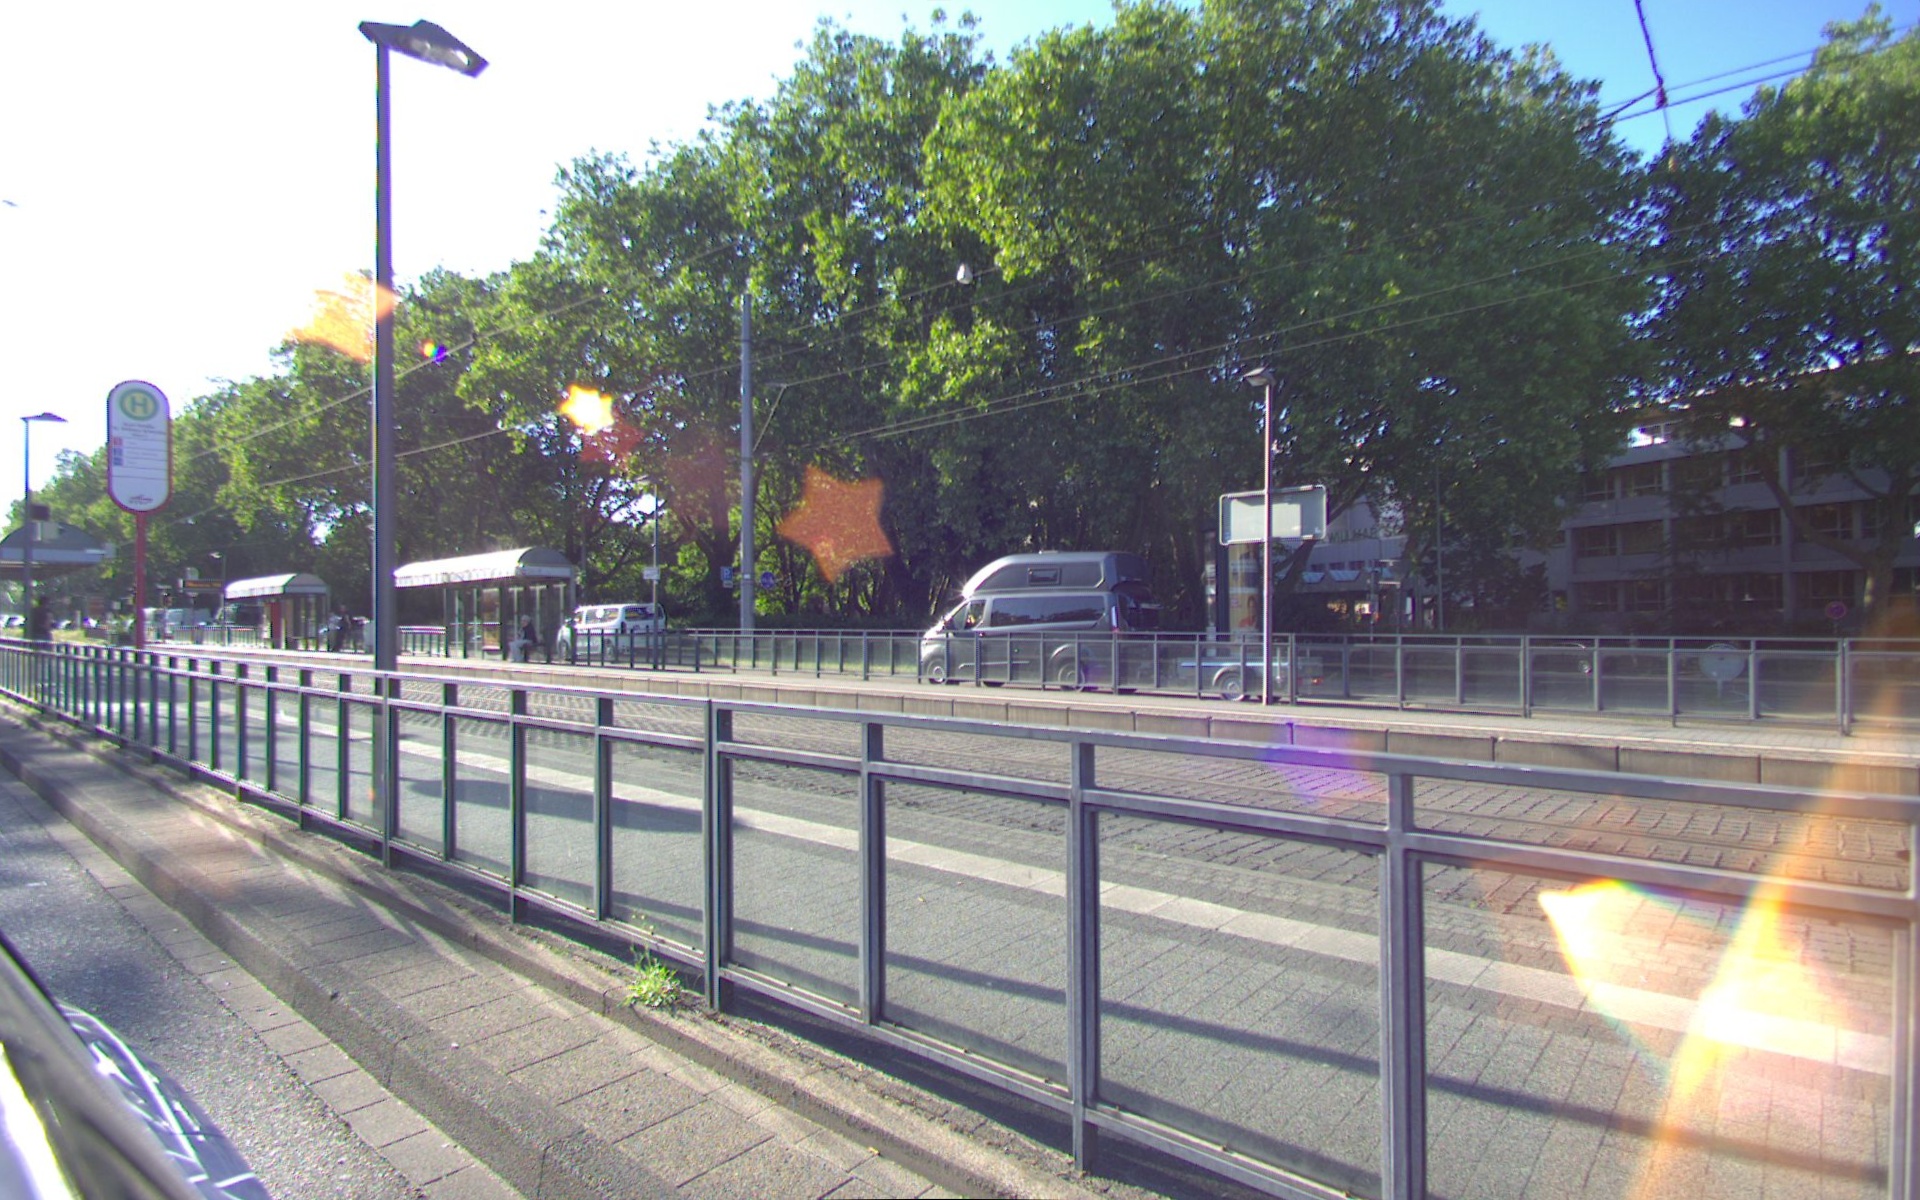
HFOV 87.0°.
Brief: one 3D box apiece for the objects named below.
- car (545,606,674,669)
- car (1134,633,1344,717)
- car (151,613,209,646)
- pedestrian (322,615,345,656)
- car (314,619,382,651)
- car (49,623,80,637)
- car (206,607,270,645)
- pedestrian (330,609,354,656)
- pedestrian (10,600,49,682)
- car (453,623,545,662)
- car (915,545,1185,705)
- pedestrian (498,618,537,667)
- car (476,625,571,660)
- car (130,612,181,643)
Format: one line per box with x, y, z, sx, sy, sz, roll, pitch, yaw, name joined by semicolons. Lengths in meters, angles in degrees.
-12.677;1.313;36.459;5.086;2.140;2.046;-1;-3;40;car
4.768;1.217;17.336;2.909;1.171;2.047;0;0;39;car
-62.976;2.343;81.690;6.264;2.540;2.162;0;-3;38;car
-24.283;1.348;39.209;0.626;1.555;0.586;0;0;42;pedestrian
-33.418;1.894;55.229;3.968;1.664;1.884;0;-3;38;car
-96.746;3.265;109.355;4.320;1.448;1.808;-1;-3;40;car
-51.378;1.827;71.951;6.027;2.540;2.161;-1;-3;40;car
-23.681;1.229;38.777;0.650;1.785;0.641;0;0;44;pedestrian
-19.615;0.850;21.326;0.588;1.690;0.590;0;0;-44;pedestrian
-19.392;1.775;42.500;4.338;1.522;1.776;-1;-3;40;car
1.660;0.435;19.888;5.026;2.763;2.047;0;0;39;car
-12.250;1.167;28.018;0.756;1.335;0.663;-1;-4;40;pedestrian
-17.686;1.709;40.958;4.312;1.302;1.752;-1;-3;40;car
-68.980;2.318;86.720;6.045;2.540;2.161;-1;-3;40;car
